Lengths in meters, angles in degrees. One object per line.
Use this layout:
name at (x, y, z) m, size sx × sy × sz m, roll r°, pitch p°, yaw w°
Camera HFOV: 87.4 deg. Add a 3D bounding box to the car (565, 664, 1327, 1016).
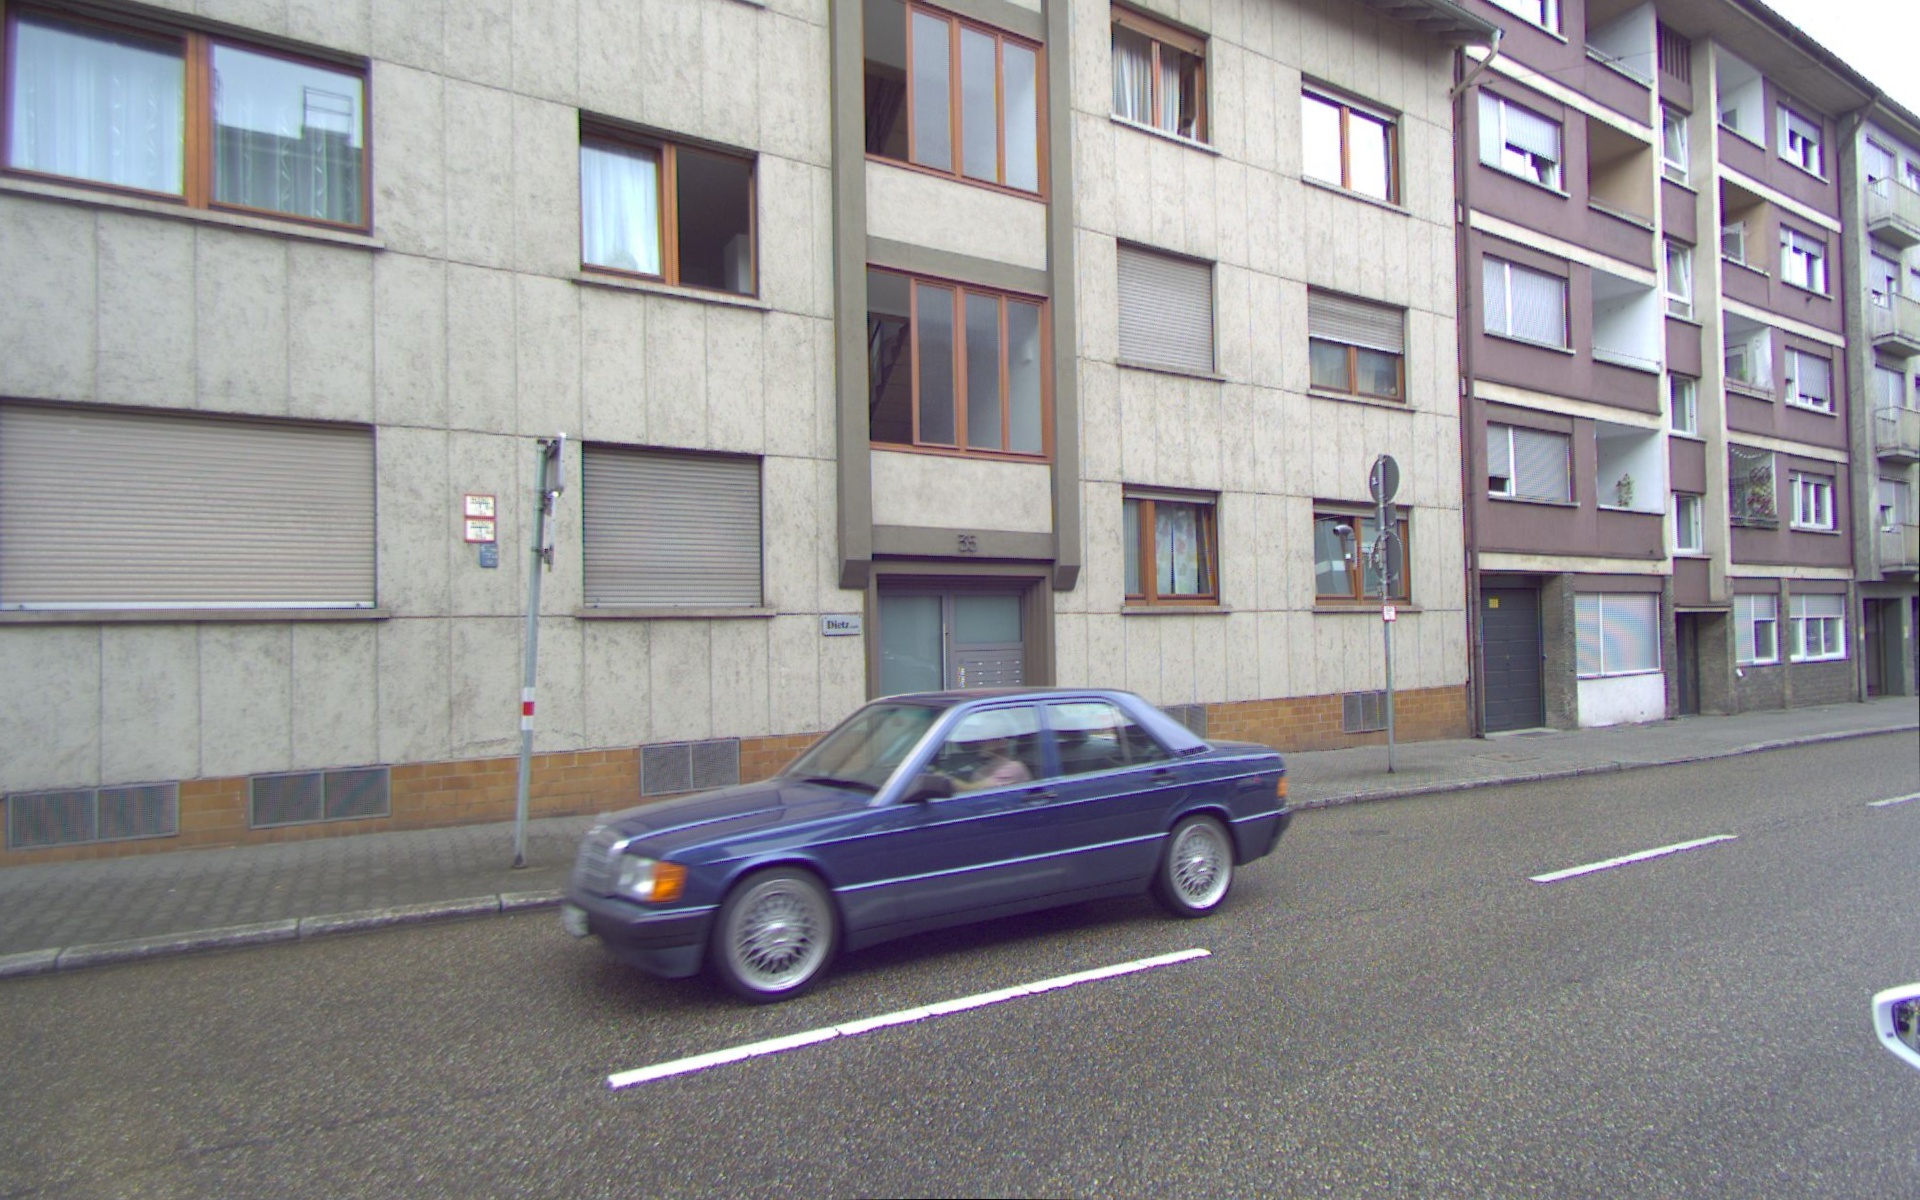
car at (0.086, 1.115, 5.955) m, size 4.314 × 1.388 × 1.591 m, roll 2°, pitch -5°, yaw -32°
